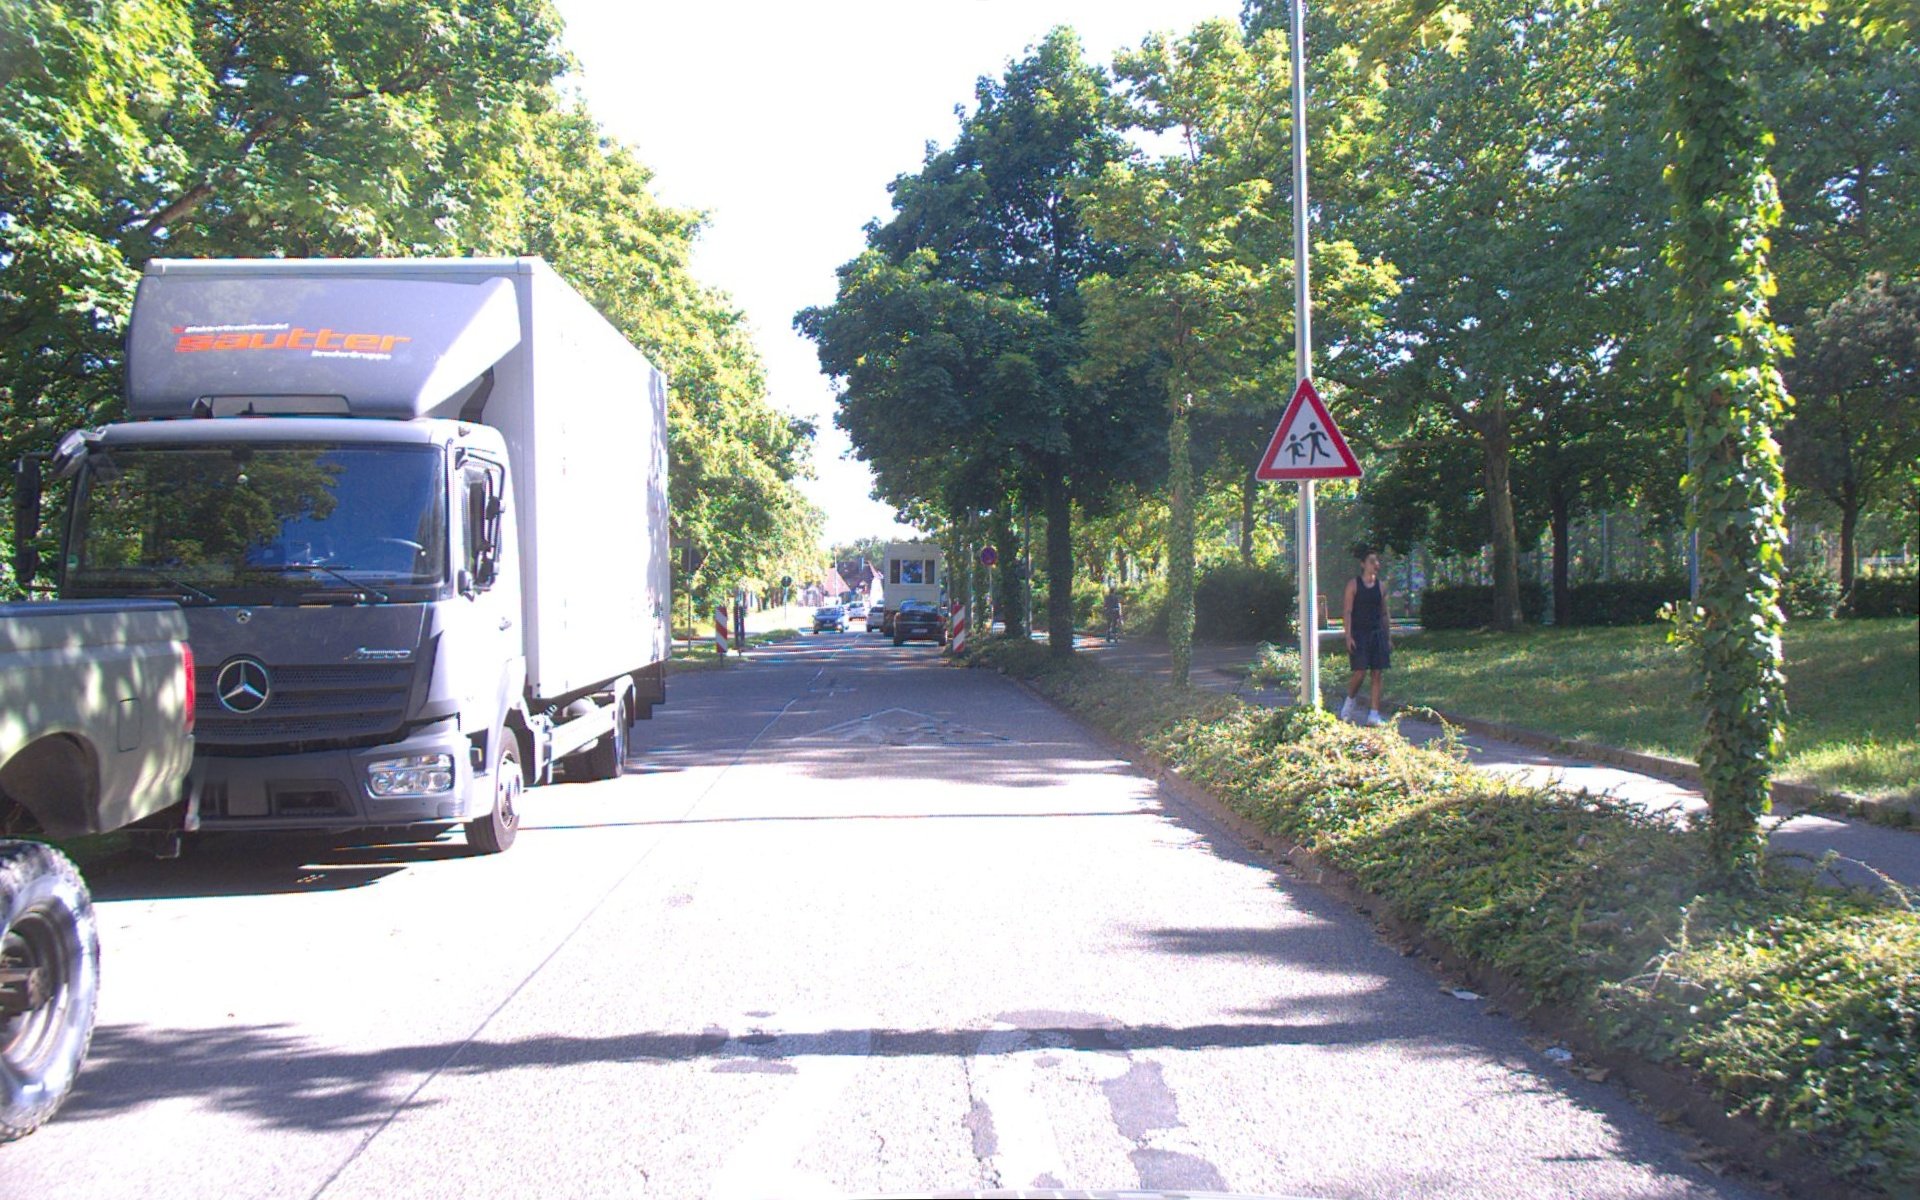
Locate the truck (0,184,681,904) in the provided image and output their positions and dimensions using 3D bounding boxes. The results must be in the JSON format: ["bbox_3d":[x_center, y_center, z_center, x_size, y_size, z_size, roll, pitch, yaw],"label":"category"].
[{"bbox_3d":[-3.968,-0.314,12.624,2.680,3.705,8.096,-1,0,-3],"label":"truck"}]

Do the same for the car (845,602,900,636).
[{"bbox_3d":[-4.548,0.966,86.402,1.951,1.713,4.004,-1,0,11],"label":"car"}]

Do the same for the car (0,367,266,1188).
[{"bbox_3d":[-3.442,0.473,2.889,2.077,2.132,6.579,-1,0,-4],"label":"car"}]

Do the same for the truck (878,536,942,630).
[{"bbox_3d":[-2.424,-0.726,76.935,2.718,4.066,10.342,0,0,-3],"label":"truck"}]

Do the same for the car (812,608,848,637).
[{"bbox_3d":[-7.091,1.215,90.637,1.568,1.451,3.652,-2,0,1],"label":"car"}]

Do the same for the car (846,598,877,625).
[{"bbox_3d":[-7.847,0.895,132.129,1.952,2.049,4.002,-2,0,3],"label":"car"}]

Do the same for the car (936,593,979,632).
[{"bbox_3d":[-0.113,0.467,66.288,1.606,1.445,4.000,-3,0,0],"label":"car"}]

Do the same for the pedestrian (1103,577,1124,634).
[{"bbox_3d":[4.503,0.155,48.516,0.559,1.636,0.672,-1,0,7],"label":"pedestrian"}]

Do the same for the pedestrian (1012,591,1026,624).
[{"bbox_3d":[3.392,0.432,95.322,0.684,1.844,0.699,-2,0,-6],"label":"pedestrian"}]

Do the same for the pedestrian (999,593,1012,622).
[{"bbox_3d":[2.625,0.443,95.344,0.587,1.639,0.599,-2,0,-6],"label":"pedestrian"}]

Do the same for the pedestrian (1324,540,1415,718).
[{"bbox_3d":[4.387,0.300,17.745,0.775,1.864,0.671,-1,0,-3],"label":"pedestrian"}]

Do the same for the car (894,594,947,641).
[{"bbox_3d":[-1.286,0.575,54.865,1.713,1.506,4.029,0,-1,-1],"label":"car"}]

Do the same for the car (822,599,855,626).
[{"bbox_3d":[-7.288,0.711,99.326,1.720,1.479,4.242,-2,0,-1],"label":"car"}]

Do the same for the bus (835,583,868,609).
[{"bbox_3d":[-15.142,-0.575,231.470,3.982,3.407,9.799,-2,0,0],"label":"bus"}]
